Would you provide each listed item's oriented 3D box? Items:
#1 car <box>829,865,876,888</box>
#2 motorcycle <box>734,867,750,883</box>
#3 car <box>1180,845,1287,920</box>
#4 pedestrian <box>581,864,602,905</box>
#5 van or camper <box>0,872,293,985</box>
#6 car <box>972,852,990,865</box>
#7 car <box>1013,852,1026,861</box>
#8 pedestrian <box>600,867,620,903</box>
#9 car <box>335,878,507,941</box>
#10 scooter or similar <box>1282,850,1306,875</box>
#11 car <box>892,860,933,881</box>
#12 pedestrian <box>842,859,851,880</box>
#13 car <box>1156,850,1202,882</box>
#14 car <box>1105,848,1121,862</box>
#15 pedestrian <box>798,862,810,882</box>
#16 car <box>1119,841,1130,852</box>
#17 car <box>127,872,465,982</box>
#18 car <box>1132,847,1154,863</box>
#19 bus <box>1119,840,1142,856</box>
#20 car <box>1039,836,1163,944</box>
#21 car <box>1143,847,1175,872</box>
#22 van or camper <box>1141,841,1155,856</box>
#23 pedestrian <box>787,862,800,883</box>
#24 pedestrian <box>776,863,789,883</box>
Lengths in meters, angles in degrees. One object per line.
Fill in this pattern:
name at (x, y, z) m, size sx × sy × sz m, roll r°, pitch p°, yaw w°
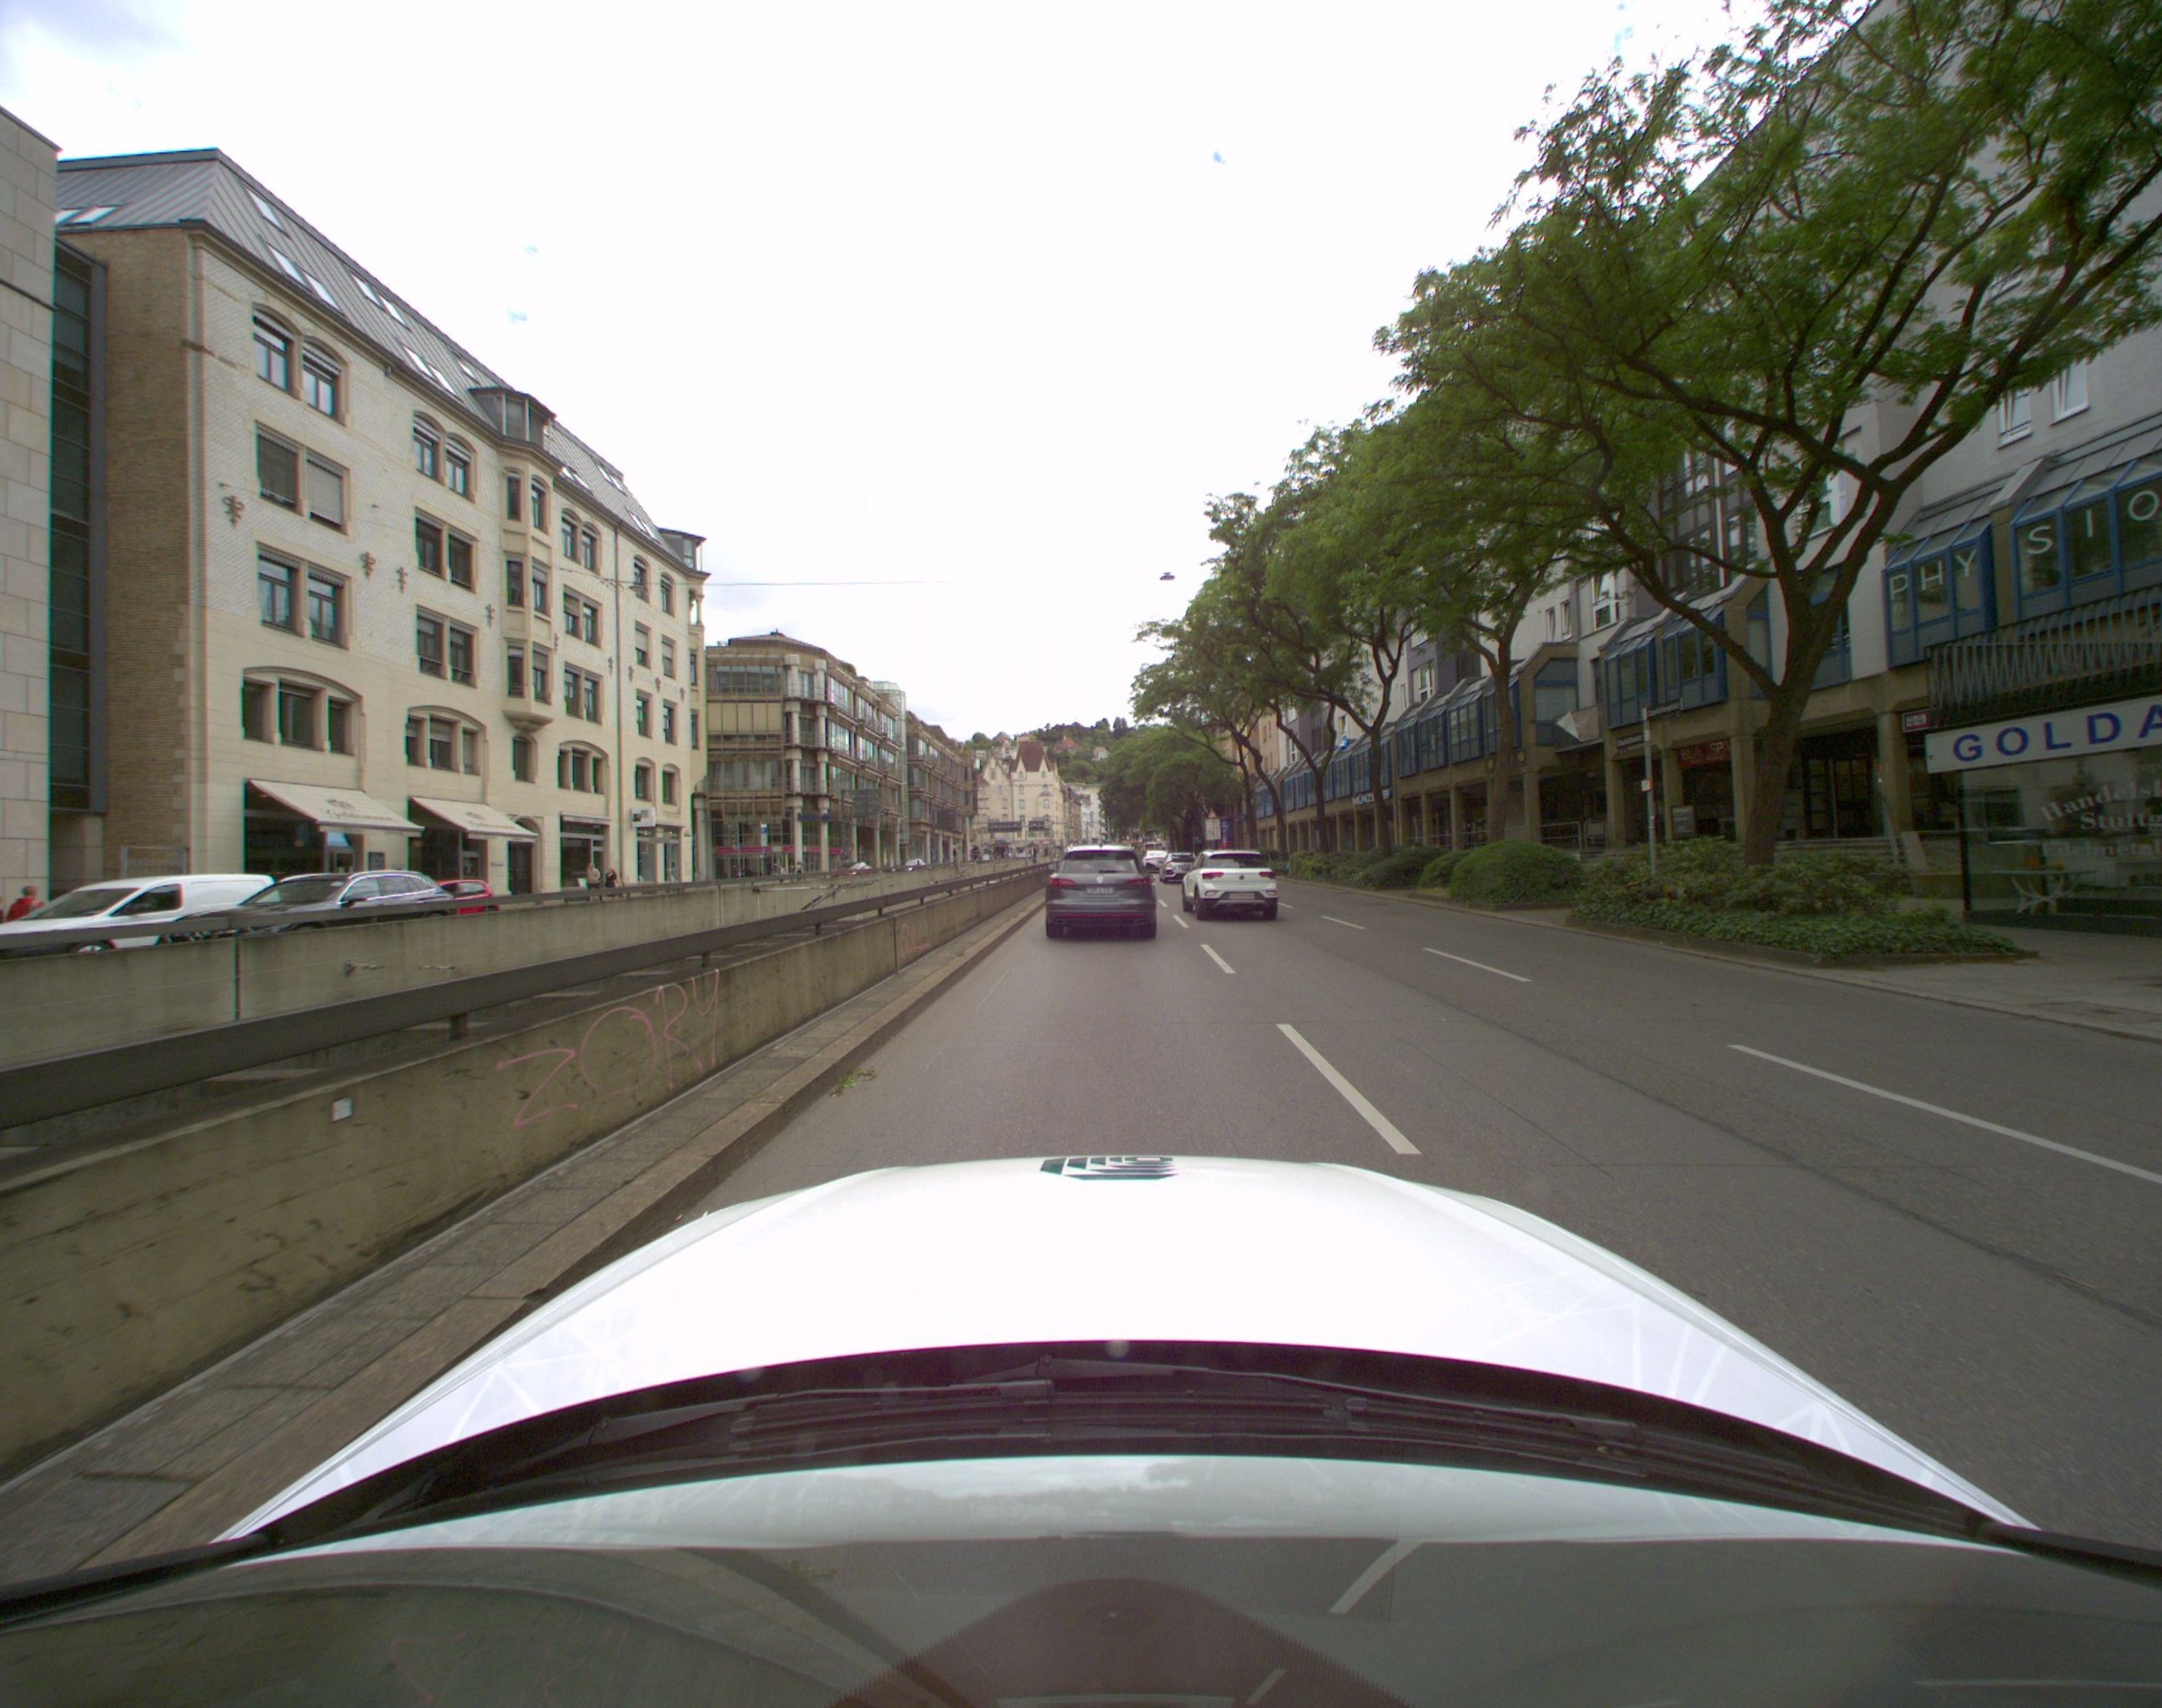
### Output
car at (-16.530, 1.612, 59.257) m, size 1.987 × 1.464 × 4.885 m, roll -2°, pitch 0°, yaw 0°
motorcycle at (-29.106, 1.807, 69.932) m, size 0.791 × 1.257 × 1.932 m, roll -2°, pitch 0°, yaw -10°
car at (3.469, 0.626, 19.175) m, size 1.791 × 1.545 × 3.935 m, roll 1°, pitch -1°, yaw 0°
pedestrian at (-21.751, 1.355, 36.192) m, size 0.477 × 1.757 × 0.584 m, roll -3°, pitch 0°, yaw 2°
van or camper at (-18.620, 1.327, 15.969) m, size 1.861 × 1.751 × 4.488 m, roll -2°, pitch 0°, yaw 1°
car at (-14.953, 0.616, 121.789) m, size 1.986 × 1.767 × 4.283 m, roll -2°, pitch 0°, yaw 2°
car at (-11.817, 0.448, 156.689) m, size 1.986 × 1.767 × 4.283 m, roll -2°, pitch 0°, yaw 2°
pedestrian at (-20.987, 1.376, 36.306) m, size 0.478 × 1.537 × 0.583 m, roll -3°, pitch 0°, yaw -1°
car at (-18.222, 1.477, 22.726) m, size 1.781 × 1.405 × 3.583 m, roll -2°, pitch 0°, yaw 1°
scooter or similar at (10.559, 0.414, 40.393) m, size 1.100 × 1.181 × 0.429 m, roll -3°, pitch 0°, yaw 12°
car at (-14.047, 1.366, 68.088) m, size 1.984 × 1.585 × 4.893 m, roll -2°, pitch 0°, yaw 4°
pedestrian at (-20.880, 1.376, 72.515) m, size 0.530 × 1.793 × 0.695 m, roll 0°, pitch 0°, yaw 3°
car at (4.569, 0.564, 38.378) m, size 1.826 × 1.432 × 4.149 m, roll -1°, pitch -1°, yaw 2°
car at (3.806, 0.163, 98.019) m, size 1.825 × 1.567 × 3.768 m, roll -3°, pitch 0°, yaw 1°
pedestrian at (-21.483, 1.385, 63.140) m, size 0.699 × 1.544 × 0.845 m, roll -2°, pitch 0°, yaw -6°
car at (7.963, -1.326, 149.337) m, size 1.824 × 1.874 × 4.875 m, roll -3°, pitch 0°, yaw 4°
car at (-13.897, 1.186, 14.926) m, size 1.914 × 1.527 × 4.536 m, roll -2°, pitch 0°, yaw -3°
car at (5.742, 0.105, 75.678) m, size 1.825 × 1.363 × 3.769 m, roll -3°, pitch 0°, yaw 2°
bus at (12.408, -1.544, 202.005) m, size 3.826 × 3.531 × 17.293 m, roll -2°, pitch 0°, yaw 10°
car at (0.372, 0.584, 15.627) m, size 1.963 × 1.695 × 4.225 m, roll -3°, pitch 0°, yaw 1°
car at (5.097, 0.367, 53.370) m, size 1.825 × 1.517 × 3.770 m, roll -3°, pitch 0°, yaw 3°
van or camper at (15.185, -1.306, 185.373) m, size 2.618 × 3.178 × 5.803 m, roll -2°, pitch 0°, yaw 0°
pedestrian at (-22.279, 1.418, 63.041) m, size 0.699 × 1.544 × 0.845 m, roll -2°, pitch 0°, yaw -6°
pedestrian at (-23.041, 1.454, 62.954) m, size 0.699 × 1.544 × 0.845 m, roll -2°, pitch 0°, yaw -6°
